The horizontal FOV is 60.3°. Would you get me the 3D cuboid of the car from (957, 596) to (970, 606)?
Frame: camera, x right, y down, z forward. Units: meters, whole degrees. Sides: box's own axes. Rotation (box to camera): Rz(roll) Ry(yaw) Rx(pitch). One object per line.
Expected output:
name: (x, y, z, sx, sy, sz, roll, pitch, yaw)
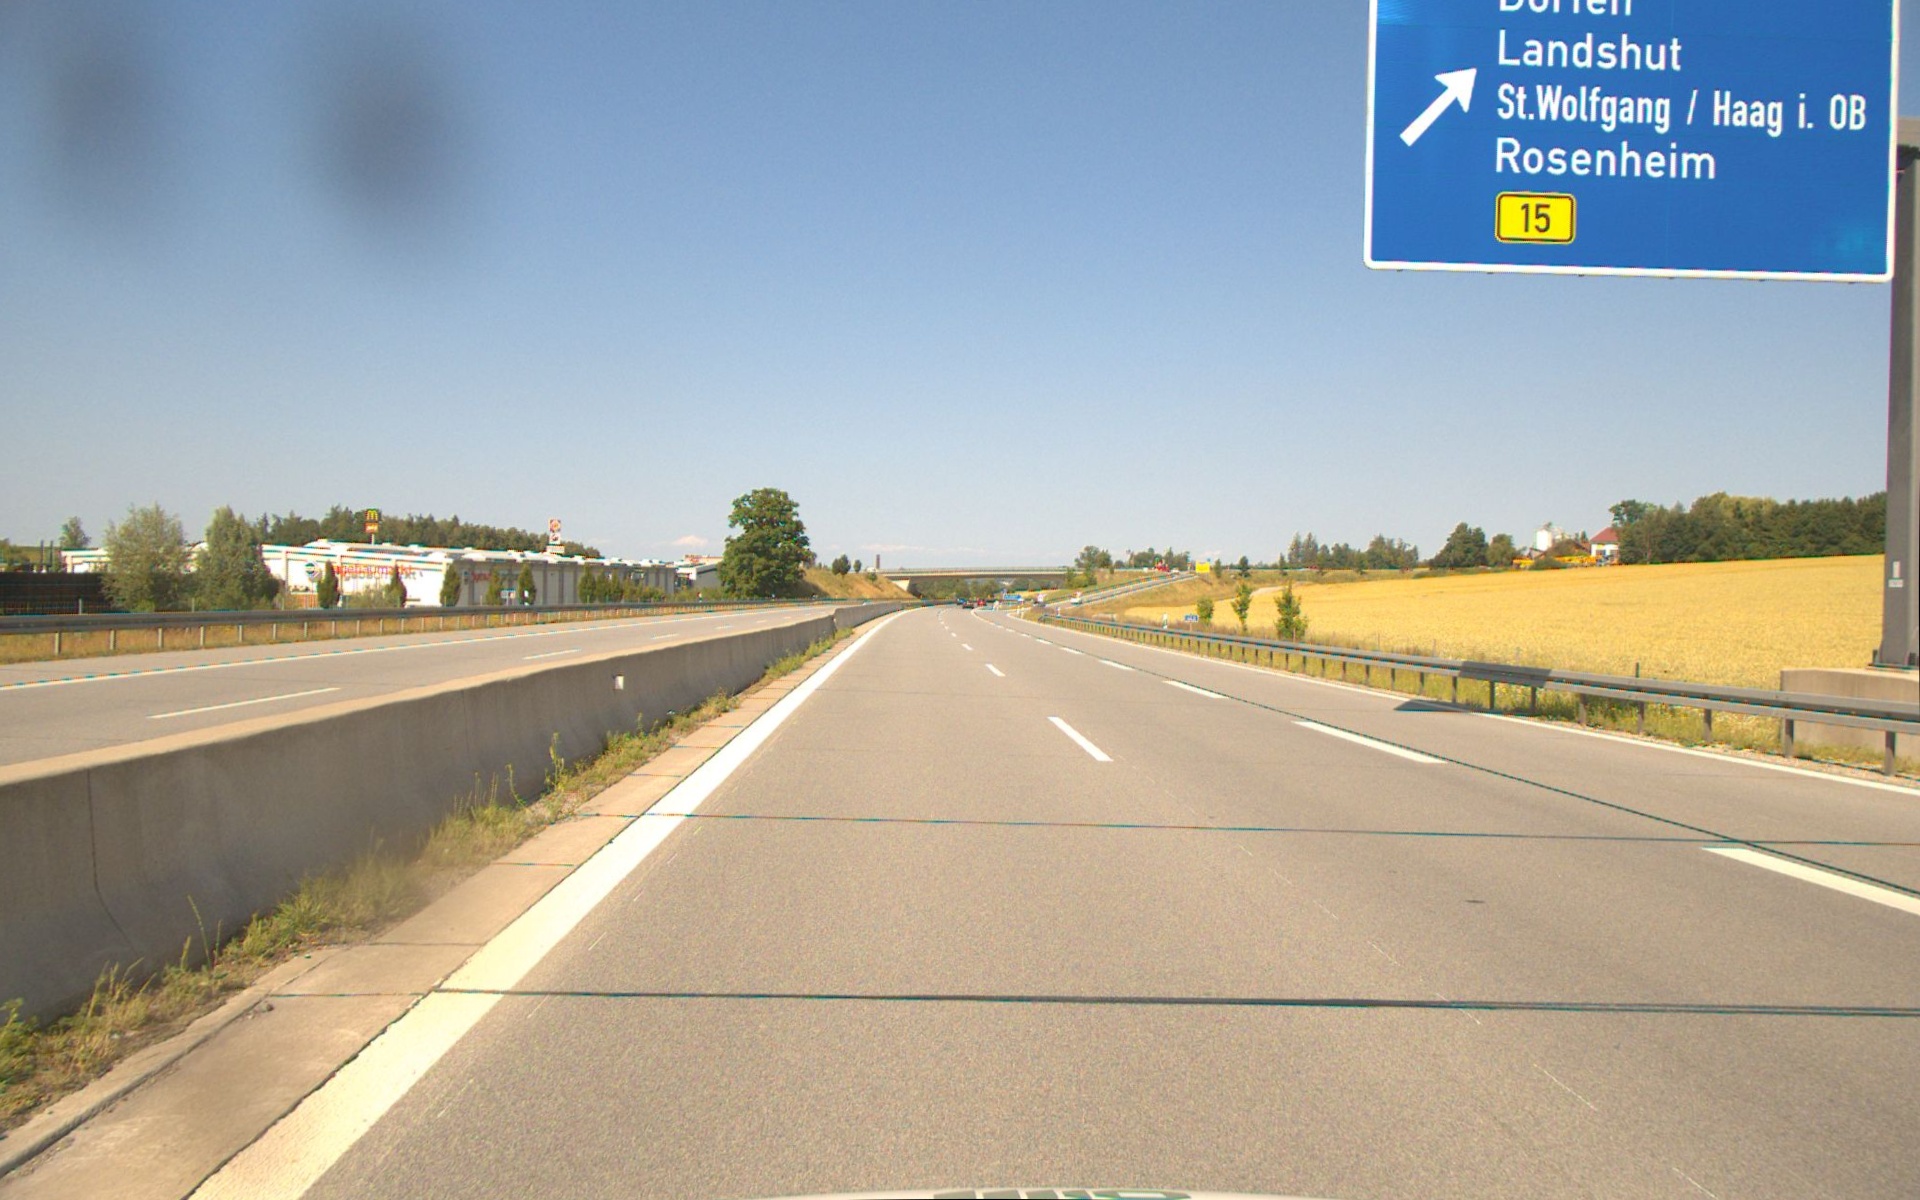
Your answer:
car: (0.548, 0.138, 258.352, 1.952, 1.445, 4.001, 0, 0, 2)
